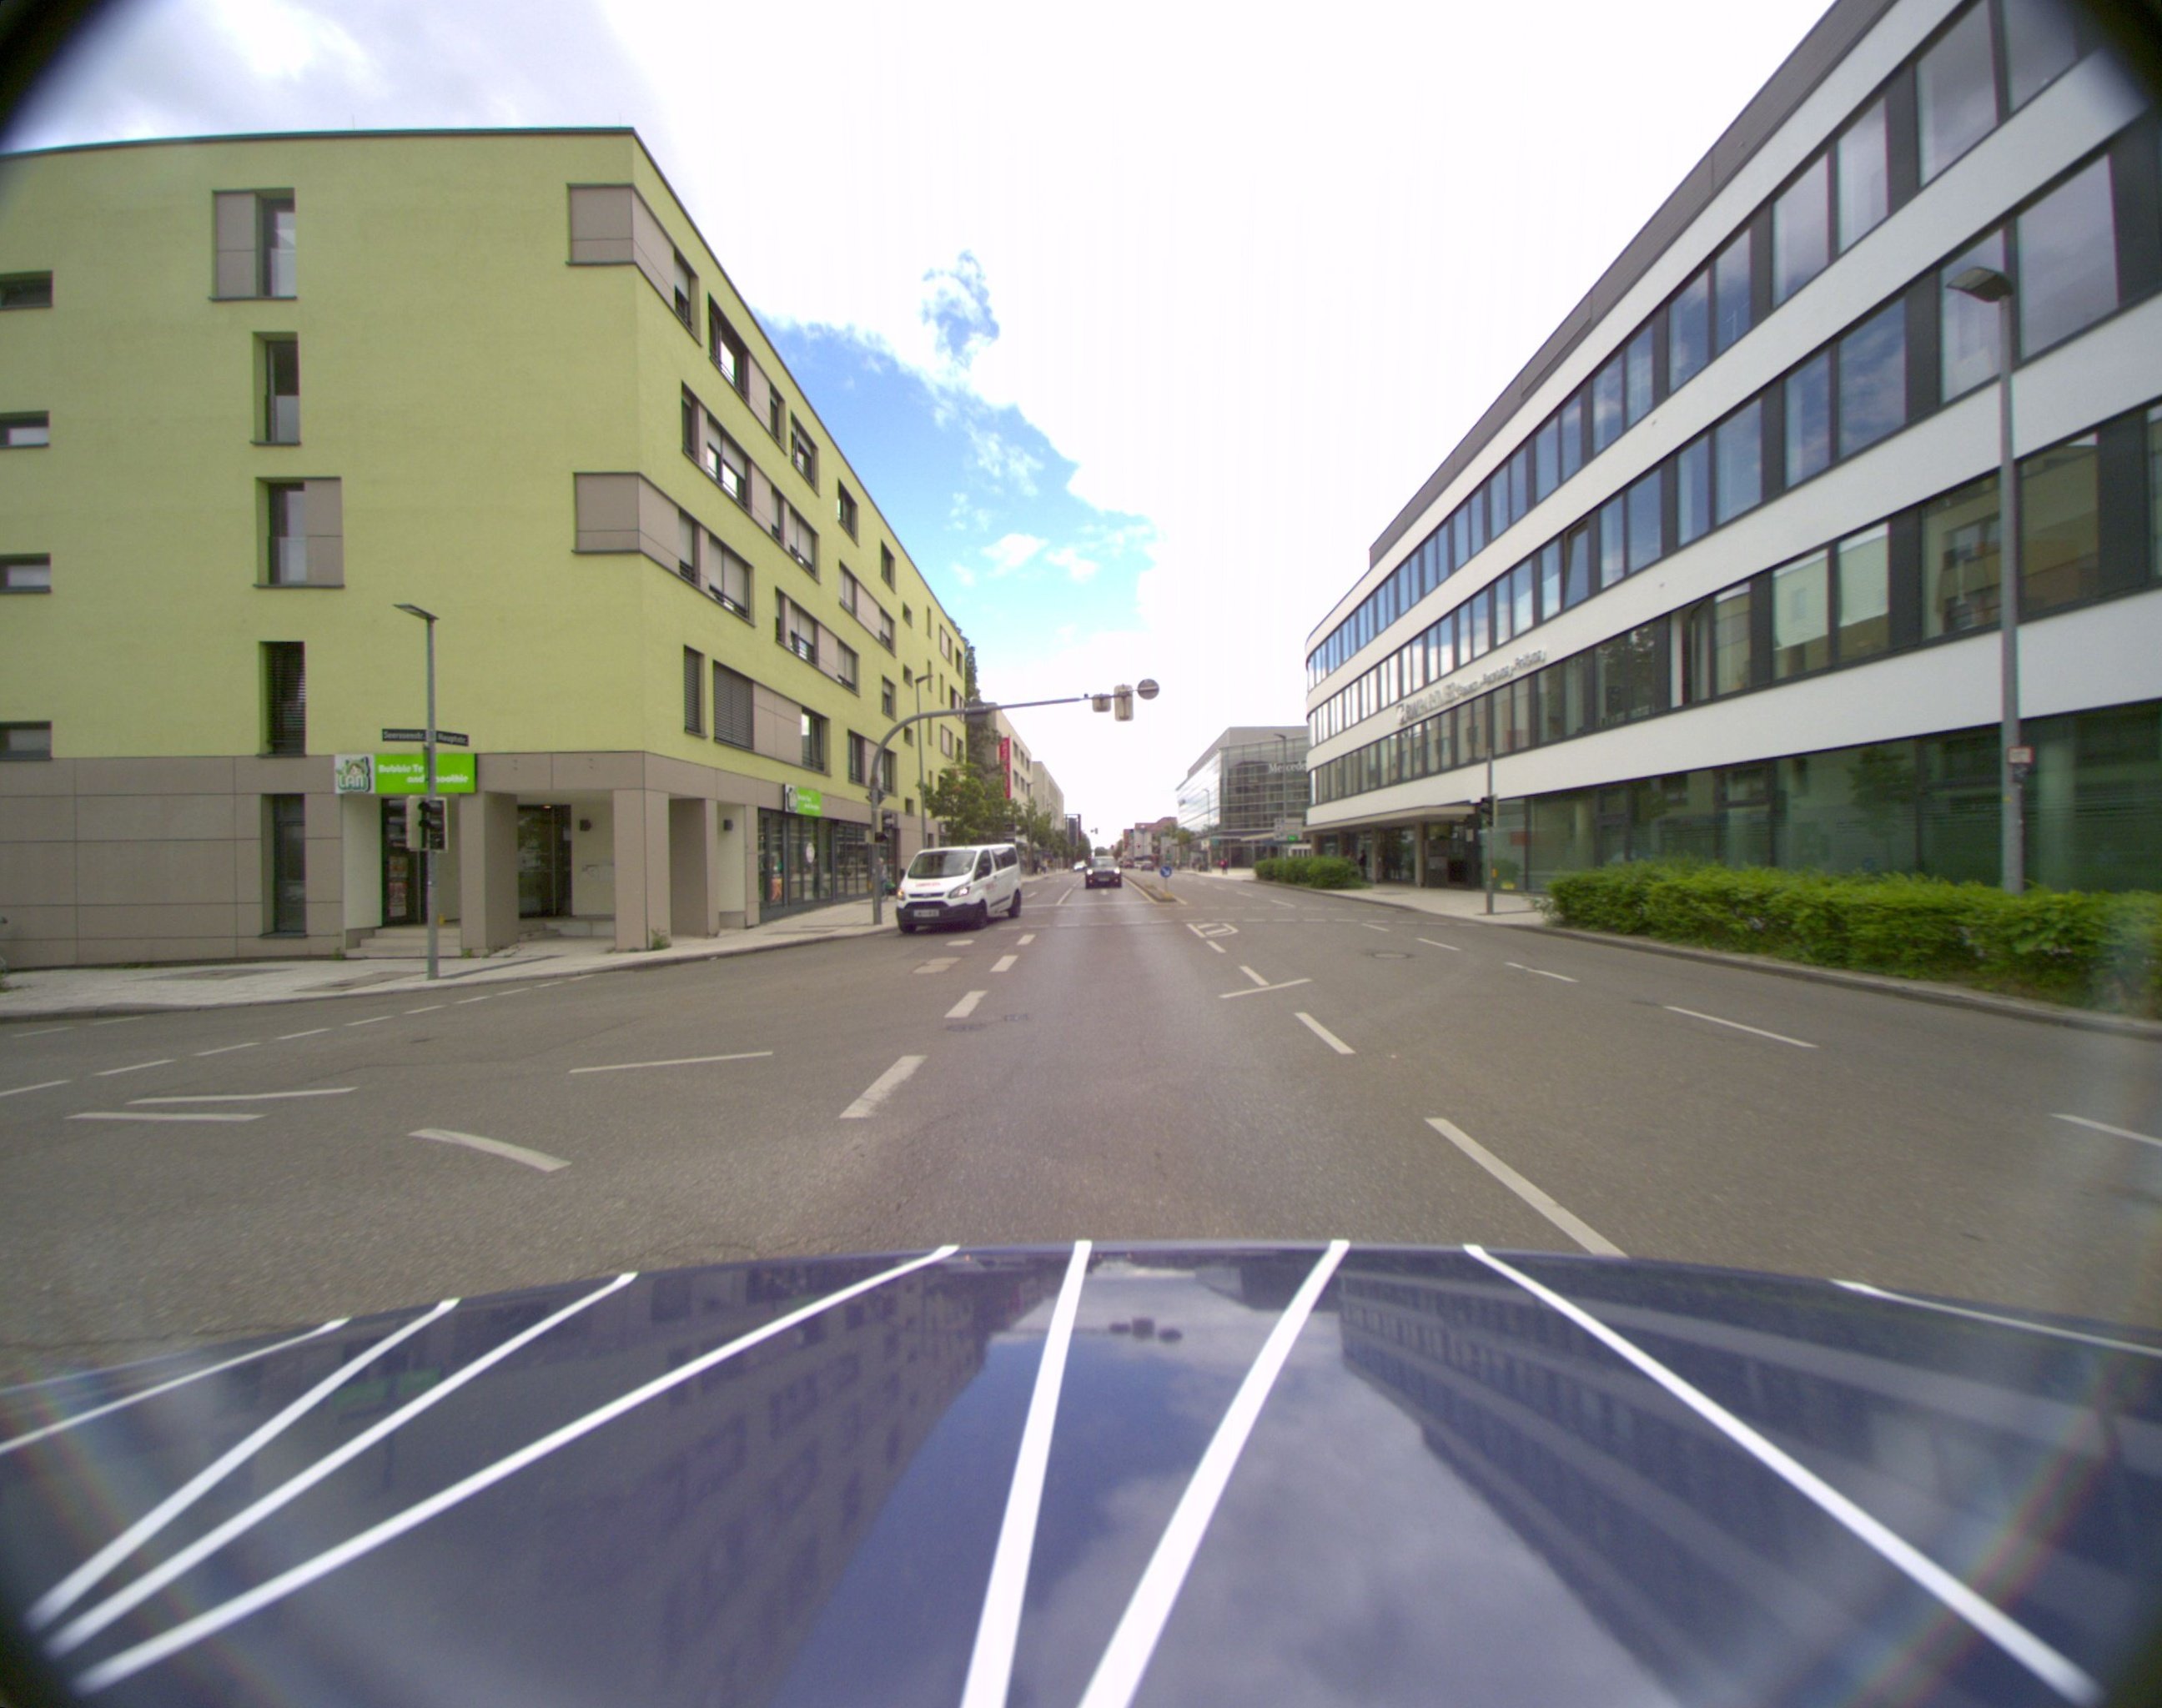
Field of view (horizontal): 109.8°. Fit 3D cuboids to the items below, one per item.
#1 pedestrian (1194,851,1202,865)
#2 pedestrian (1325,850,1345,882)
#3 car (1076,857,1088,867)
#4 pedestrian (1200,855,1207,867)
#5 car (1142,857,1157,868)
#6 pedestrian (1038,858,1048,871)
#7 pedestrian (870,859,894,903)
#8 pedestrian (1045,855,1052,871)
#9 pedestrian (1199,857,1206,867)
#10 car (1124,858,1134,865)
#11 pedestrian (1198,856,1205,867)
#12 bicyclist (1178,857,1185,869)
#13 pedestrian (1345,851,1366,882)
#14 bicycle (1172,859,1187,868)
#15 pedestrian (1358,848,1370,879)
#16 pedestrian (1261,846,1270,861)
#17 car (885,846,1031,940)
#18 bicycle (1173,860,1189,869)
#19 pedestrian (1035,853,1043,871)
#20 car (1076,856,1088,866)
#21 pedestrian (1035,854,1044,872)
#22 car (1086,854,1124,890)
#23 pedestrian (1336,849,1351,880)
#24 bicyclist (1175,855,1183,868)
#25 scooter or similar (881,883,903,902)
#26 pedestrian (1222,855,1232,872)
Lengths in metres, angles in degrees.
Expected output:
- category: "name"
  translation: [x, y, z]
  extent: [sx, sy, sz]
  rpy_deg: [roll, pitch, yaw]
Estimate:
- category: "pedestrian"
  translation: [13.359, 0.450, 86.538]
  extent: [0.688, 1.621, 0.574]
  rpy_deg: [0, 1, -39]
- category: "pedestrian"
  translation: [13.403, 0.632, 40.179]
  extent: [0.732, 1.664, 0.931]
  rpy_deg: [-2, 0, 4]
- category: "car"
  translation: [0.191, 1.301, 122.134]
  extent: [1.740, 1.533, 4.791]
  rpy_deg: [-3, 0, 2]
- category: "pedestrian"
  translation: [13.593, 0.801, 84.628]
  extent: [0.686, 1.312, 0.576]
  rpy_deg: [1, 0, 0]
- category: "car"
  translation: [10.020, 1.241, 111.622]
  extent: [1.901, 1.407, 4.471]
  rpy_deg: [-3, 0, 2]
- category: "pedestrian"
  translation: [-3.786, 1.061, 75.844]
  extent: [0.945, 1.252, 0.732]
  rpy_deg: [0, 1, -1]
- category: "pedestrian"
  translation: [-7.251, 0.979, 27.712]
  extent: [0.697, 1.584, 0.603]
  rpy_deg: [0, 0, 1]
- category: "pedestrian"
  translation: [-3.334, 0.903, 77.321]
  extent: [0.580, 1.581, 0.733]
  rpy_deg: [0, 1, 7]
- category: "pedestrian"
  translation: [13.614, 0.912, 85.299]
  extent: [0.686, 1.069, 0.576]
  rpy_deg: [1, 0, 0]
- category: "car"
  translation: [11.236, 1.777, 178.866]
  extent: [1.803, 1.458, 3.999]
  rpy_deg: [-1, 0, -4]
- category: "pedestrian"
  translation: [13.575, 0.820, 85.899]
  extent: [0.686, 1.246, 0.576]
  rpy_deg: [0, 0, 0]
- category: "bicyclist"
  translation: [13.817, 1.234, 104.803]
  extent: [0.783, 1.639, 0.639]
  rpy_deg: [-3, 0, 17]
- category: "pedestrian"
  translation: [14.250, 0.642, 39.491]
  extent: [0.732, 1.604, 0.931]
  rpy_deg: [-2, 0, 4]
- category: "bicycle"
  translation: [13.953, 1.393, 107.710]
  extent: [0.749, 1.199, 2.025]
  rpy_deg: [-4, 0, -44]
- category: "pedestrian"
  translation: [15.520, 0.518, 41.687]
  extent: [0.505, 1.720, 0.616]
  rpy_deg: [0, 1, 33]
- category: "pedestrian"
  translation: [23.690, -0.032, 97.623]
  extent: [0.904, 1.934, 0.748]
  rpy_deg: [-3, 1, -37]
- category: "car"
  translation: [-2.871, 0.843, 19.053]
  extent: [1.998, 1.976, 5.004]
  rpy_deg: [-3, 0, 10]
- category: "bicycle"
  translation: [13.805, 1.516, 104.826]
  extent: [2.002, 1.124, 0.639]
  rpy_deg: [-3, 0, 17]
- category: "pedestrian"
  translation: [-4.139, 0.789, 74.597]
  extent: [0.580, 1.759, 0.857]
  rpy_deg: [0, 1, 7]
- category: "car"
  translation: [0.192, 1.016, 115.716]
  extent: [1.787, 1.417, 4.515]
  rpy_deg: [-2, 0, 1]
- category: "pedestrian"
  translation: [-3.991, 0.860, 73.268]
  extent: [0.722, 1.674, 0.733]
  rpy_deg: [0, 1, 7]
- category: "car"
  translation: [1.236, 0.848, 37.159]
  extent: [1.691, 1.550, 4.745]
  rpy_deg: [-2, 0, 3]
- category: "pedestrian"
  translation: [14.675, 0.598, 42.459]
  extent: [0.616, 1.700, 0.505]
  rpy_deg: [-1, 1, -29]
- category: "bicyclist"
  translation: [13.936, 1.078, 107.710]
  extent: [0.749, 1.789, 0.772]
  rpy_deg: [-4, 0, -44]
- category: "scooter or similar"
  translation: [-7.072, 1.434, 28.422]
  extent: [0.593, 0.669, 0.824]
  rpy_deg: [0, 0, 1]
- category: "pedestrian"
  translation: [13.336, 0.849, 69.362]
  extent: [0.832, 1.558, 0.813]
  rpy_deg: [-2, 0, 7]
